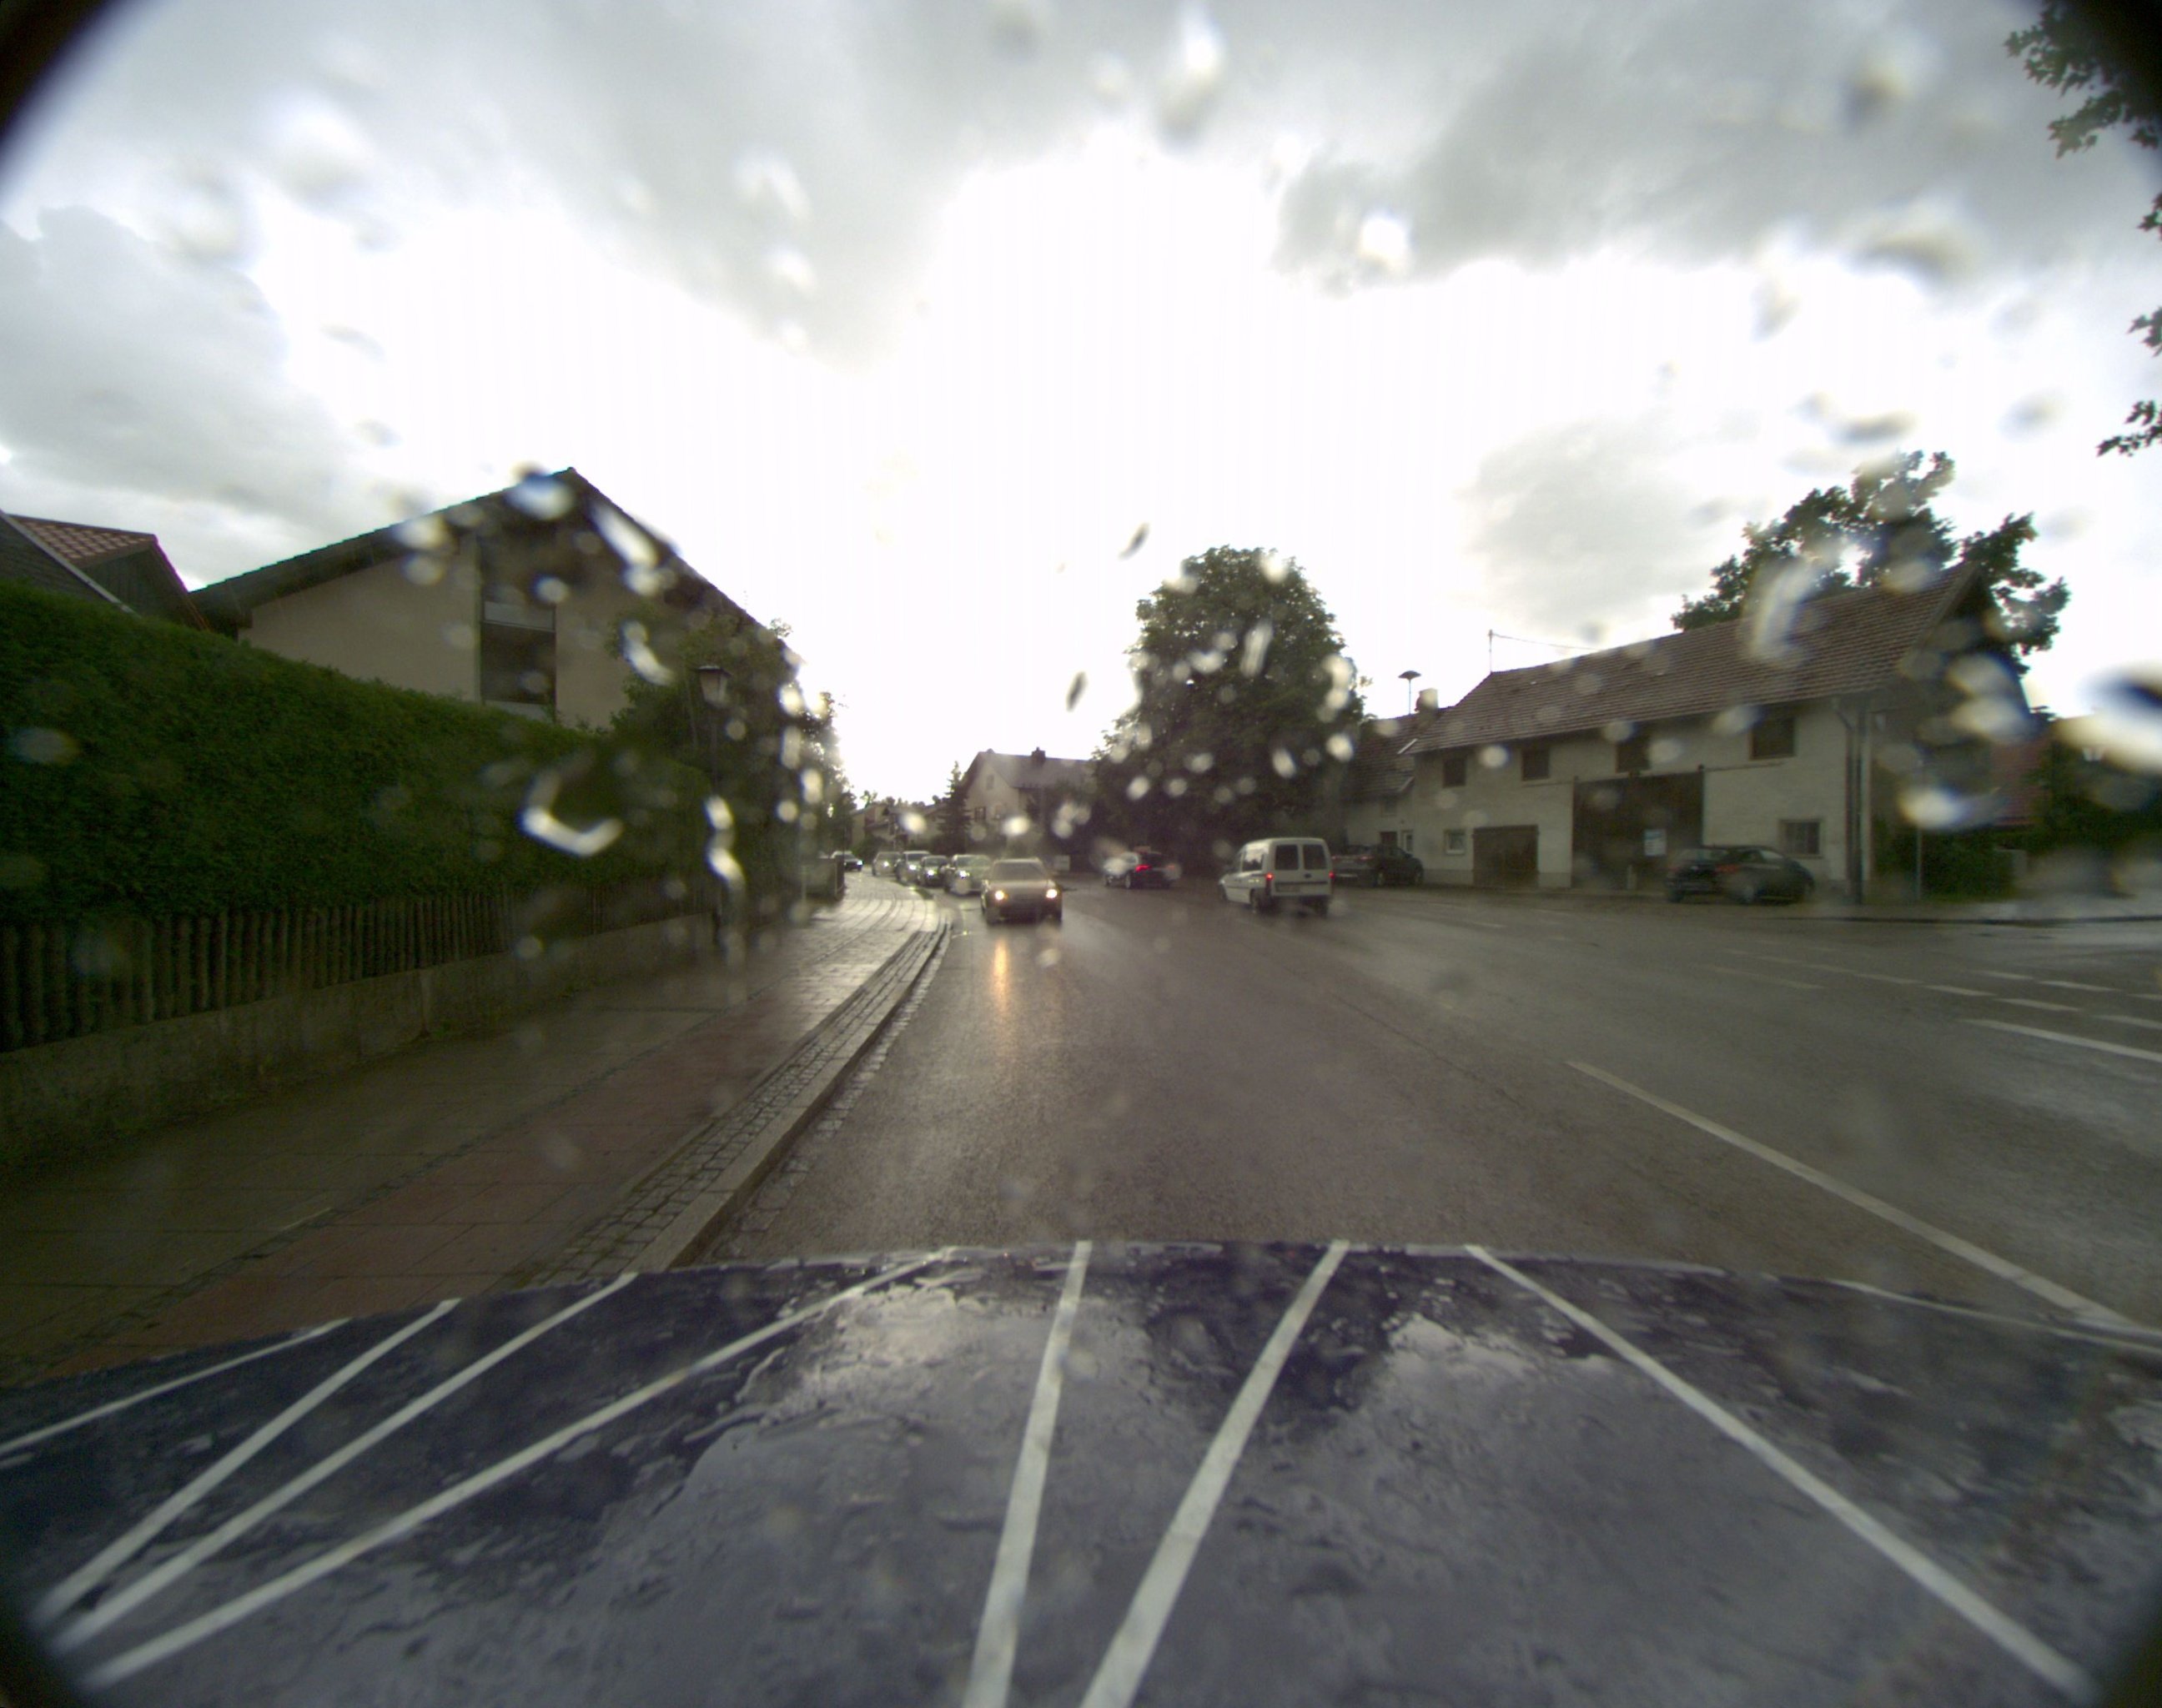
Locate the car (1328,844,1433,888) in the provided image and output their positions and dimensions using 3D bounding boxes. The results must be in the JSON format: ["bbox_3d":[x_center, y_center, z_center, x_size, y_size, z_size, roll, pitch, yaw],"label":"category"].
[{"bbox_3d":[11.184,0.439,28.251,4.290,1.539,1.812,1,0,-41],"label":"car"}]

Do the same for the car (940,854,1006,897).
[{"bbox_3d":[-4.431,0.768,30.446,1.796,1.471,5.377,-2,1,-16],"label":"car"}]

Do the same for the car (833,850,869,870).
[{"bbox_3d":[-19.115,0.498,63.101,1.798,1.539,4.271,-3,1,-31],"label":"car"}]

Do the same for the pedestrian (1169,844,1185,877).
[{"bbox_3d":[4.651,0.309,36.888,0.652,1.619,0.479,-1,1,19],"label":"pedestrian"}]

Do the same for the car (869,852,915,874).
[{"bbox_3d":[-12.836,0.570,51.385,1.798,1.365,4.271,-3,1,-31],"label":"car"}]

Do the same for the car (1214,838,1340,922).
[{"bbox_3d":[4.583,0.520,18.435,1.645,1.755,4.328,-2,1,-4],"label":"car"}]

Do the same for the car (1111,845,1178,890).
[{"bbox_3d":[2.510,0.497,31.095,1.789,1.653,4.442,-1,1,-8],"label":"car"}]

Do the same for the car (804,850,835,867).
[{"bbox_3d":[-25.116,0.414,72.877,1.798,1.539,4.270,-3,1,-32],"label":"car"}]

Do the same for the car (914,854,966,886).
[{"bbox_3d":[-6.924,0.748,37.052,1.796,1.387,4.273,-3,1,-20],"label":"car"}]

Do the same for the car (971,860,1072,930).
[{"bbox_3d":[-1.592,0.900,18.737,1.796,1.387,4.275,-2,1,-13],"label":"car"}]

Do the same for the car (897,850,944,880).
[{"bbox_3d":[-9.099,0.597,42.760,1.797,1.539,4.273,-3,1,-22],"label":"car"}]

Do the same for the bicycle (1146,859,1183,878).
[{"bbox_3d":[4.192,0.721,38.404,0.665,0.897,1.869,-2,1,-43],"label":"bicycle"}]

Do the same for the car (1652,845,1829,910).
[{"bbox_3d":[16.524,0.518,19.018,4.287,1.428,1.817,-1,1,-26],"label":"car"}]
